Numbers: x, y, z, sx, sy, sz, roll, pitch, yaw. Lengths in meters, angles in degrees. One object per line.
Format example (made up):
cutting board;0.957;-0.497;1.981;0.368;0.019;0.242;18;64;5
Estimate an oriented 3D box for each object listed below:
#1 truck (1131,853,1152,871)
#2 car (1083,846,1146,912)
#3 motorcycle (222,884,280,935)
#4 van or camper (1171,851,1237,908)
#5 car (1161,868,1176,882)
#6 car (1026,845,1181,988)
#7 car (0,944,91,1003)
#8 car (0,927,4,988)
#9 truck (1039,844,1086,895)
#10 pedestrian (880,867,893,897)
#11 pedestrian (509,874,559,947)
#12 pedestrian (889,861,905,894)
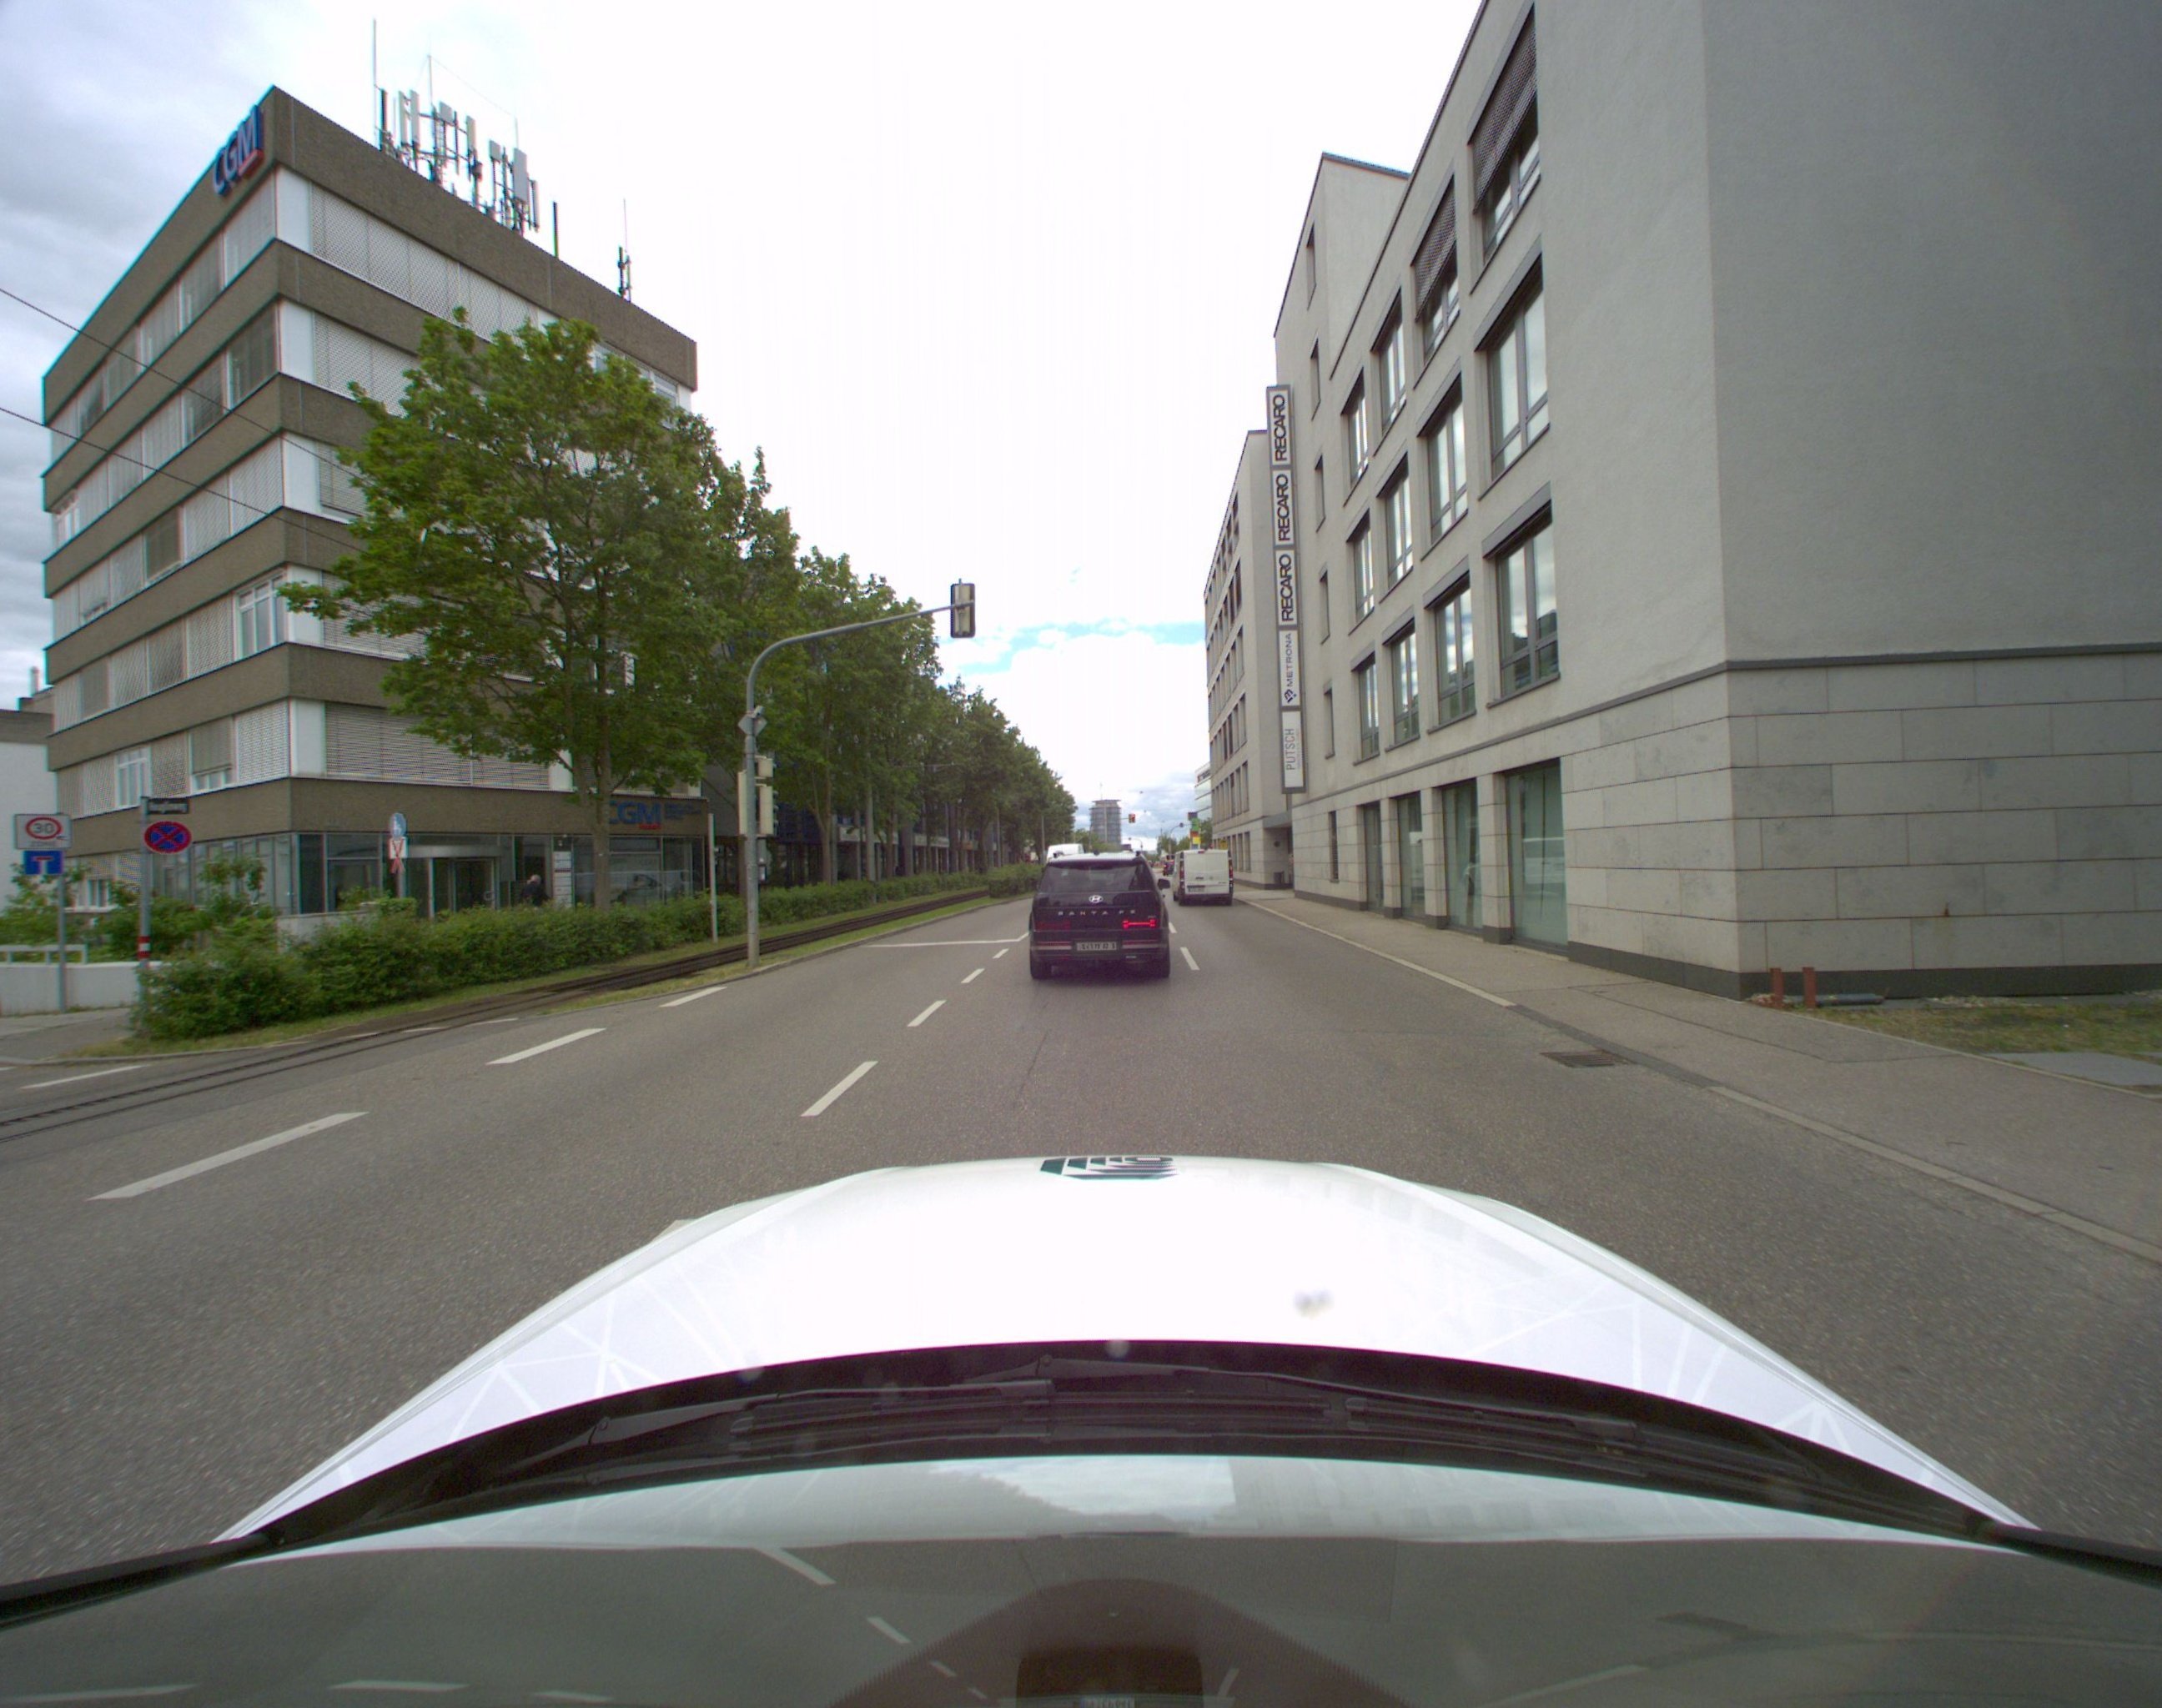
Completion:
truck;10.117;1.357;137.584;2.329;2.748;6.472;-2;-1;-6
car;1.052;0.812;27.478;1.925;1.994;4.534;-1;-1;0
motorcycle;-20.428;1.364;20.038;1.861;1.199;0.571;-3;-2;30
van or camper;4.386;0.906;29.597;1.985;1.916;4.335;0;-1;4
car;10.656;2.548;98.861;1.750;1.609;4.195;-1;-1;7
car;0.223;0.834;12.387;1.904;1.749;4.393;-1;-1;-2
car;-29.712;3.297;21.627;1.709;1.425;4.022;-4;-2;24
car;-38.678;3.568;26.092;1.832;2.068;4.713;-4;-2;24
truck;-0.965;0.889;46.066;2.156;2.616;5.800;-2;-1;3
pedestrian;-13.121;1.872;54.940;0.678;2.014;0.571;-2;-2;3
pedestrian;-13.112;1.339;19.529;0.684;1.706;0.683;-3;-2;5
pedestrian;-10.861;1.390;48.111;0.672;1.909;0.622;-3;-2;4
